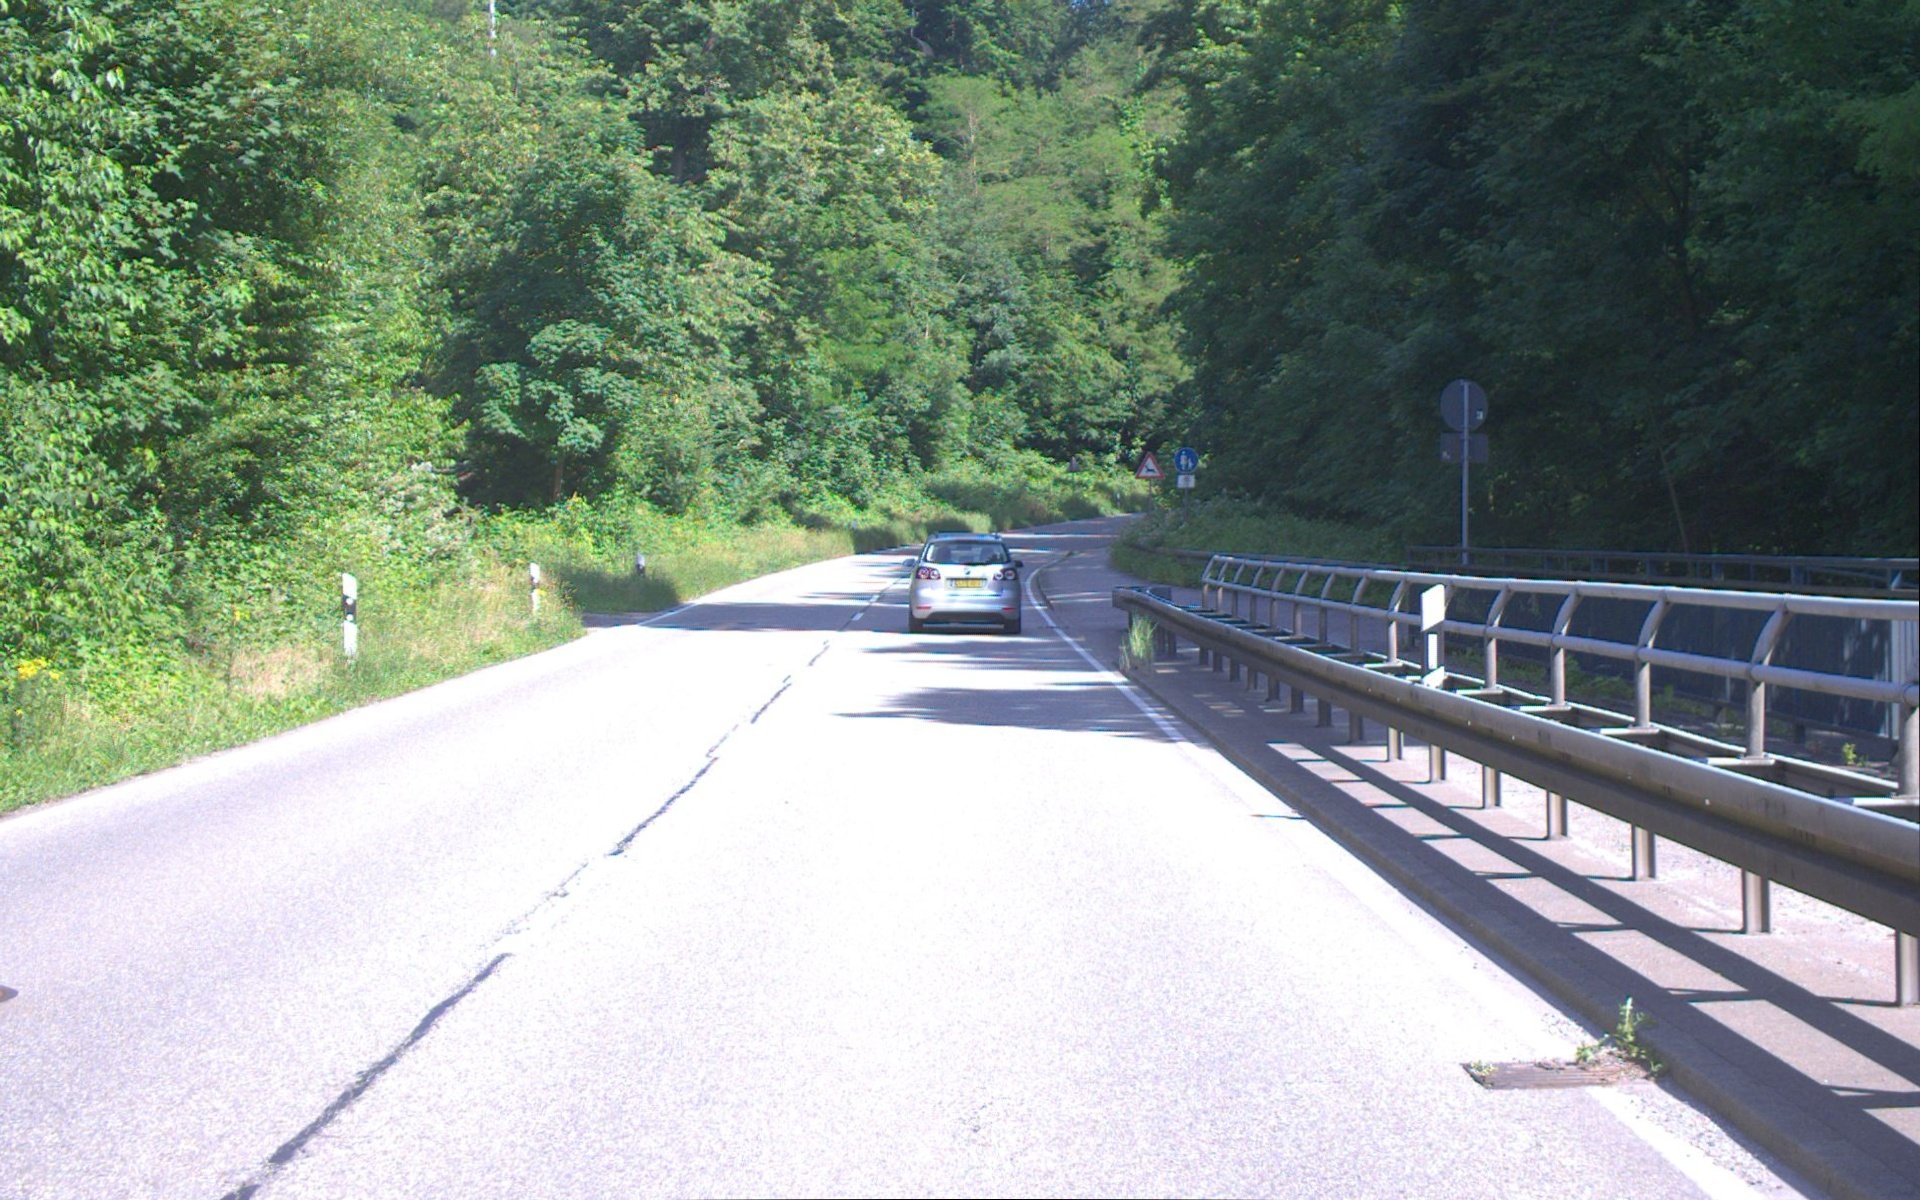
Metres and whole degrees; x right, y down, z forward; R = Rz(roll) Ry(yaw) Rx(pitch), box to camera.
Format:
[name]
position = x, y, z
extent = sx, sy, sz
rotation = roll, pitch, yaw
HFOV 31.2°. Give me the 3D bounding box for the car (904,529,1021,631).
[car]
position = 0.056, -0.335, 54.345
extent = 1.751, 1.515, 4.159
rotation = -1, 1, 1
